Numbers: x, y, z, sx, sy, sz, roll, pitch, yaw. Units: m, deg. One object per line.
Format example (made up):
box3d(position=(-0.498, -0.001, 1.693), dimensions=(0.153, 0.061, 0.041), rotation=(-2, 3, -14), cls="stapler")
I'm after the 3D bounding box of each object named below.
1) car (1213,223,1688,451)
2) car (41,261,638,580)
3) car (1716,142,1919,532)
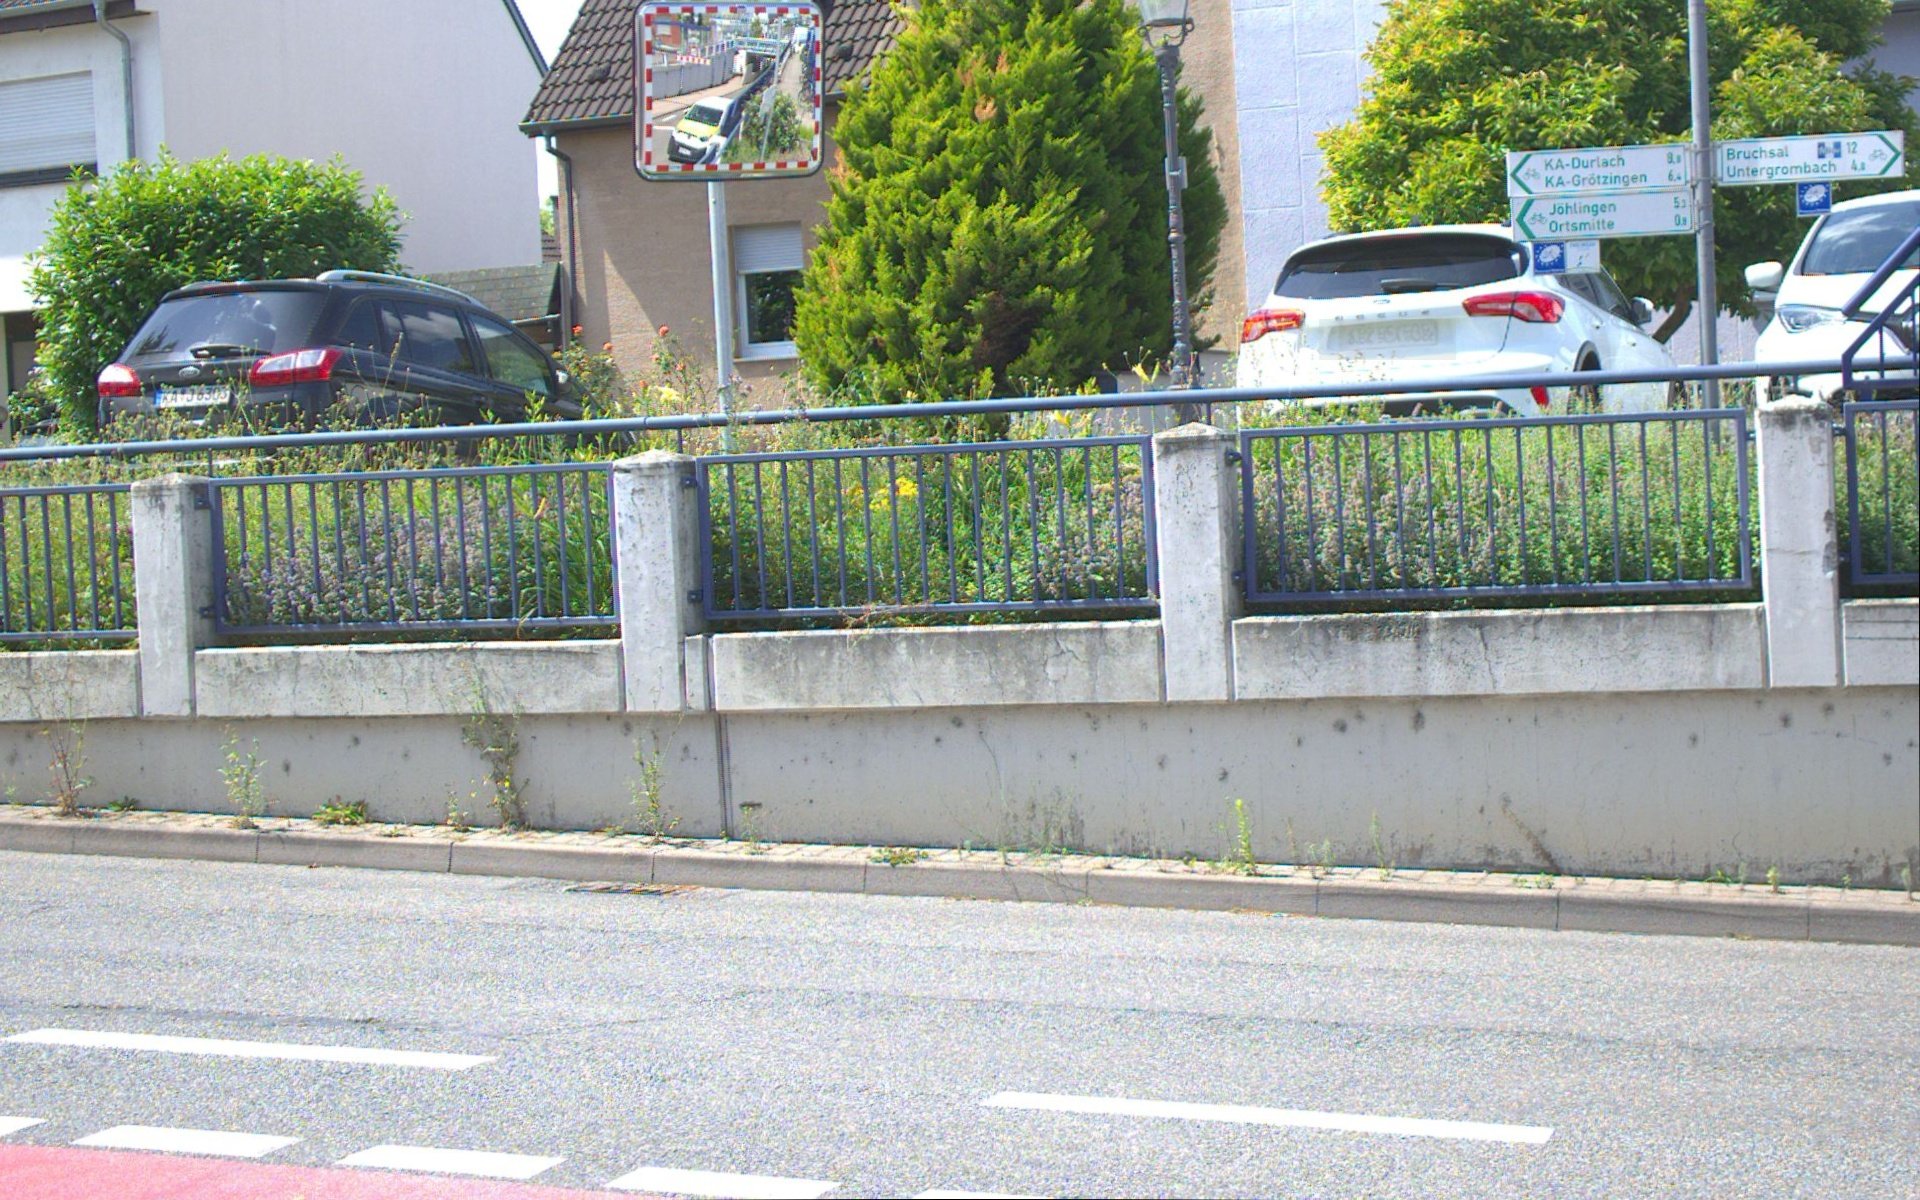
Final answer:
box3d(position=(2.754, -1.386, 18.659), dimensions=(1.827, 1.016, 3.456), rotation=(2, 2, 20), cls="car")
box3d(position=(-3.763, -1.072, 21.571), dimensions=(1.869, 1.791, 3.996), rotation=(2, 2, 20), cls="car")
box3d(position=(5.242, -1.237, 17.743), dimensions=(1.996, 1.791, 4.192), rotation=(2, 2, 20), cls="car")
